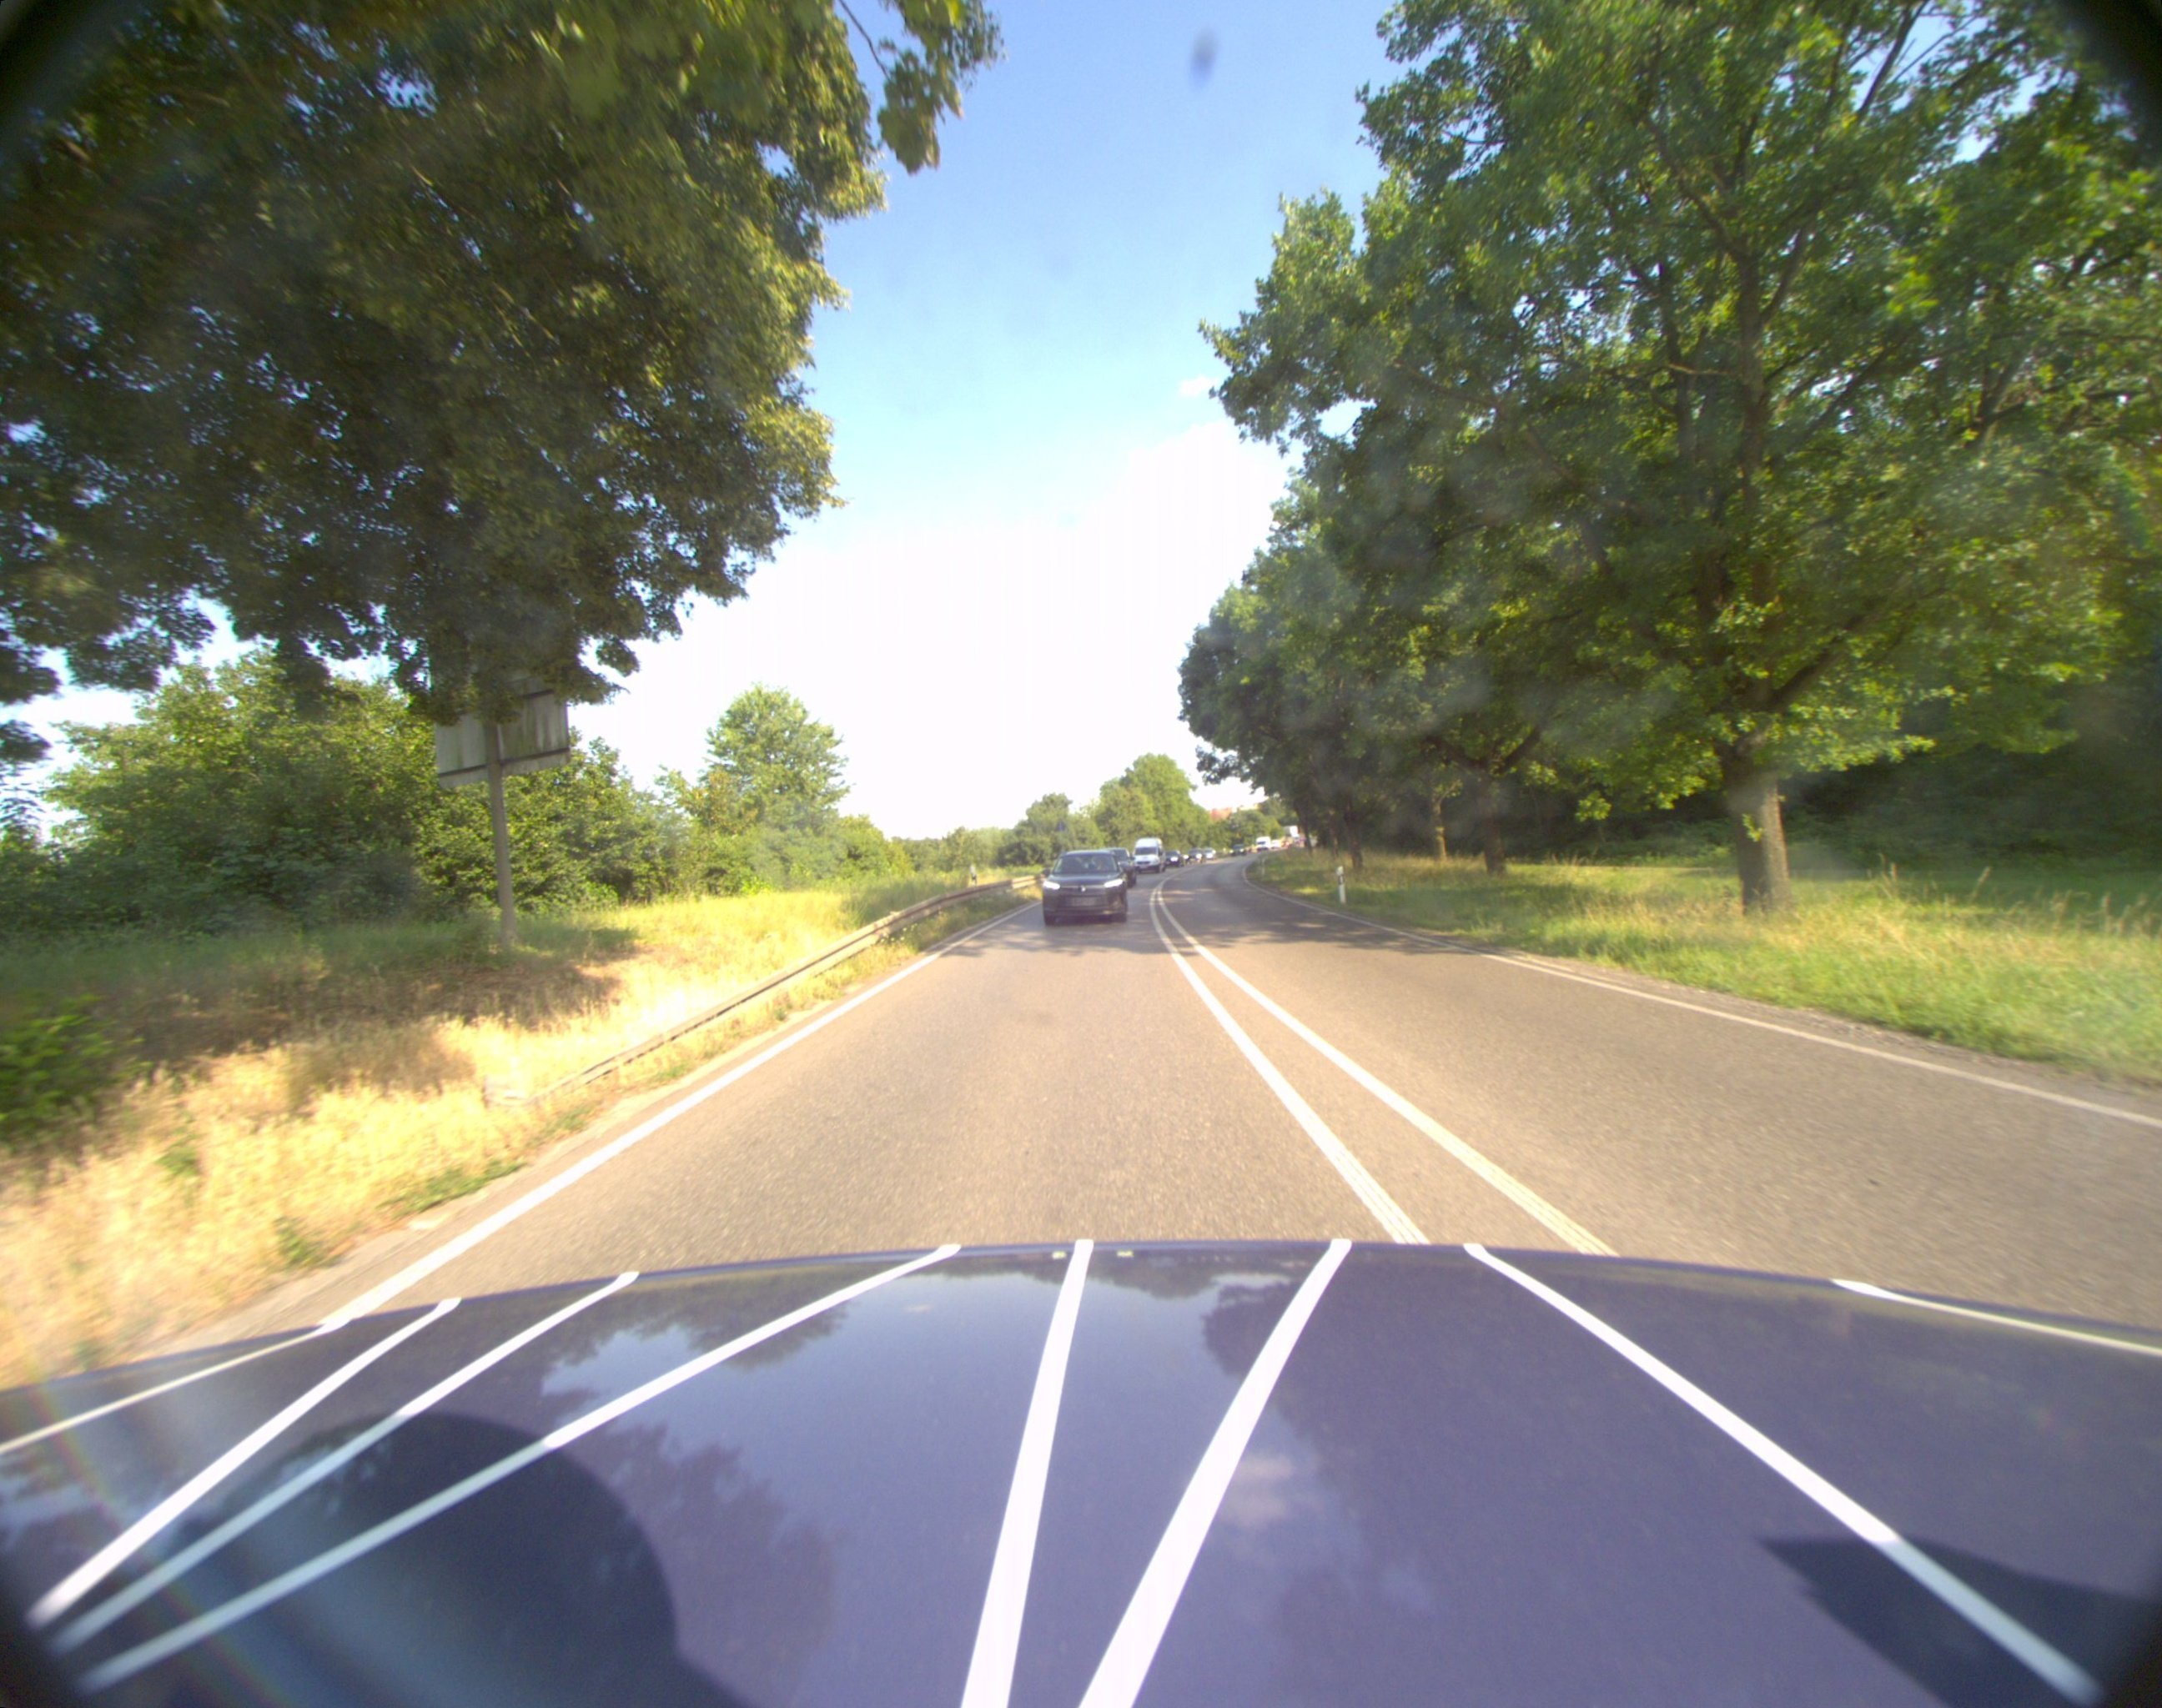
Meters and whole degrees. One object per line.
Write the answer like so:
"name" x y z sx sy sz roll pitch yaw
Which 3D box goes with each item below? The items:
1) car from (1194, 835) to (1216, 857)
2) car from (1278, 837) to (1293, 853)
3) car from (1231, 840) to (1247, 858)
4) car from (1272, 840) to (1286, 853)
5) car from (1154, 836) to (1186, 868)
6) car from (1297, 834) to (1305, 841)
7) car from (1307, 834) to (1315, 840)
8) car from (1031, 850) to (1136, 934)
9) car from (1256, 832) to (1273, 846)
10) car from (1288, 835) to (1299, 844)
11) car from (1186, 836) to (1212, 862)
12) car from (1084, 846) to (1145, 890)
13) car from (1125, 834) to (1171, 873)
"car" 14.412 -0.973 88.242 2.086 2.403 5.146 -3 1 12
"car" 32.679 -1.455 121.443 2.086 2.403 5.147 -2 1 17
"car" 22.917 -0.724 109.879 2.086 2.403 5.146 -3 1 12
"car" 41.595 -1.618 159.407 2.085 2.403 5.149 -2 1 24
"car" 7.446 -0.225 63.182 2.086 2.403 5.146 -3 1 12
"car" 55.500 -4.108 191.693 1.899 1.622 4.255 -2 1 18
"car" 69.864 -5.141 231.035 1.892 1.622 4.256 -2 1 21
"car" 0.218 0.783 18.124 1.921 1.612 4.703 -3 1 7
"car" 34.009 -2.773 140.550 2.085 2.403 5.149 -2 1 24
"car" 59.221 -4.072 211.904 2.085 2.403 5.149 -2 1 24
"car" 11.753 -0.547 75.444 2.086 2.403 5.146 -3 1 12
"car" 1.552 0.570 33.621 1.921 1.718 4.705 -3 0 11
"car" 4.588 -0.117 51.150 2.086 2.403 5.147 -2 1 15
